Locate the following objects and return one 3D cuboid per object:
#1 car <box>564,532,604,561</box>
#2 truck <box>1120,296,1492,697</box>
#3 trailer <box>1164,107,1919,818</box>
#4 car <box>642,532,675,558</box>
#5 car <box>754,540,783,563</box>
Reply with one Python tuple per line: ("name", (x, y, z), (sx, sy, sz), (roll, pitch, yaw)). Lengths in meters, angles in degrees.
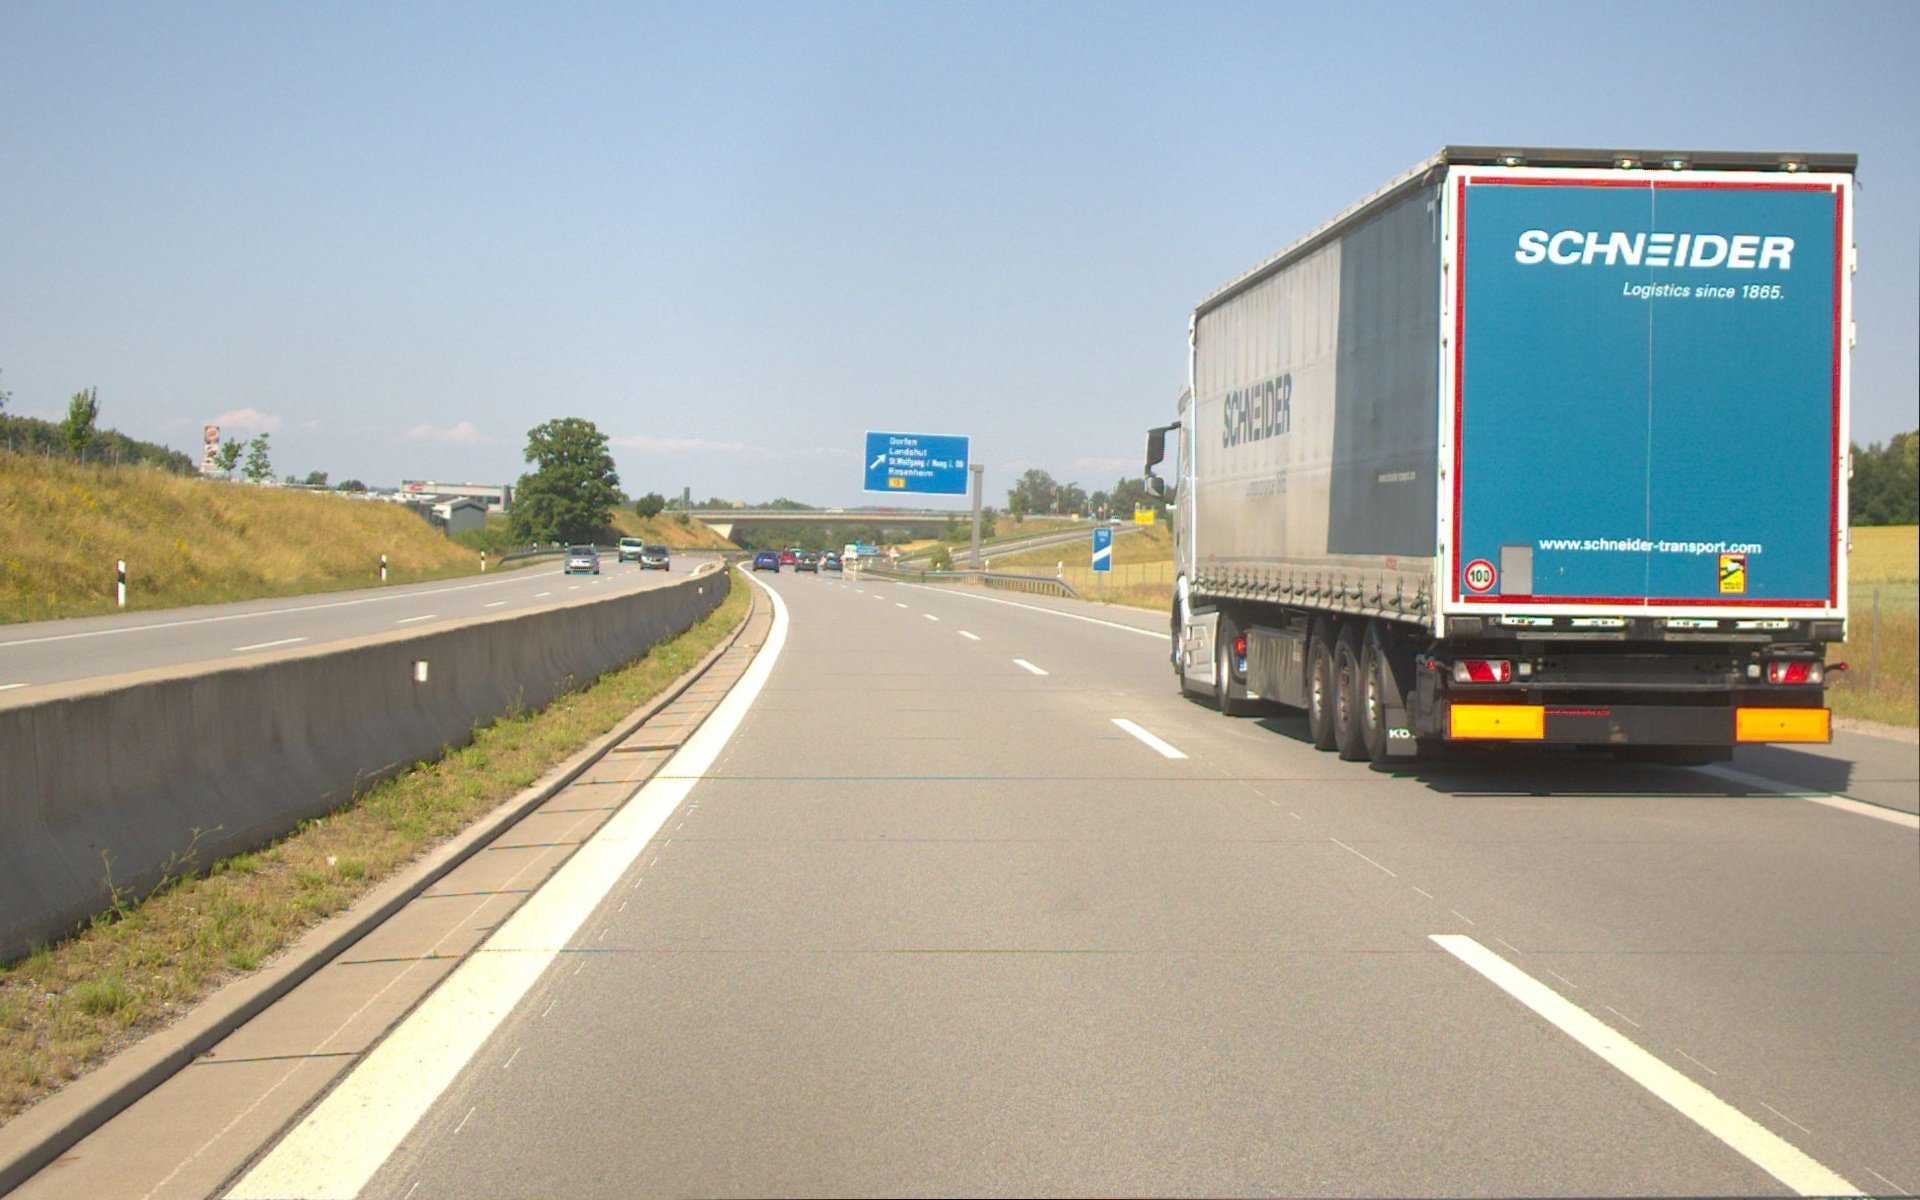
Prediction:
("car", (-19.208, -2.742, 175.792), (1.879, 1.497, 4.566), (0, 1, -4))
("truck", (3.616, -1.103, 37.557), (3.082, 4.000, 6.190), (-1, 1, -3))
("trailer", (4.000, -0.970, 28.484), (3.176, 4.279, 15.462), (0, 1, -2))
("car", (-18.769, -3.414, 213.962), (1.879, 1.570, 4.567), (-1, 1, -7))
("car", (-13.521, -3.449, 243.023), (1.993, 1.546, 4.001), (-1, 1, -2))
